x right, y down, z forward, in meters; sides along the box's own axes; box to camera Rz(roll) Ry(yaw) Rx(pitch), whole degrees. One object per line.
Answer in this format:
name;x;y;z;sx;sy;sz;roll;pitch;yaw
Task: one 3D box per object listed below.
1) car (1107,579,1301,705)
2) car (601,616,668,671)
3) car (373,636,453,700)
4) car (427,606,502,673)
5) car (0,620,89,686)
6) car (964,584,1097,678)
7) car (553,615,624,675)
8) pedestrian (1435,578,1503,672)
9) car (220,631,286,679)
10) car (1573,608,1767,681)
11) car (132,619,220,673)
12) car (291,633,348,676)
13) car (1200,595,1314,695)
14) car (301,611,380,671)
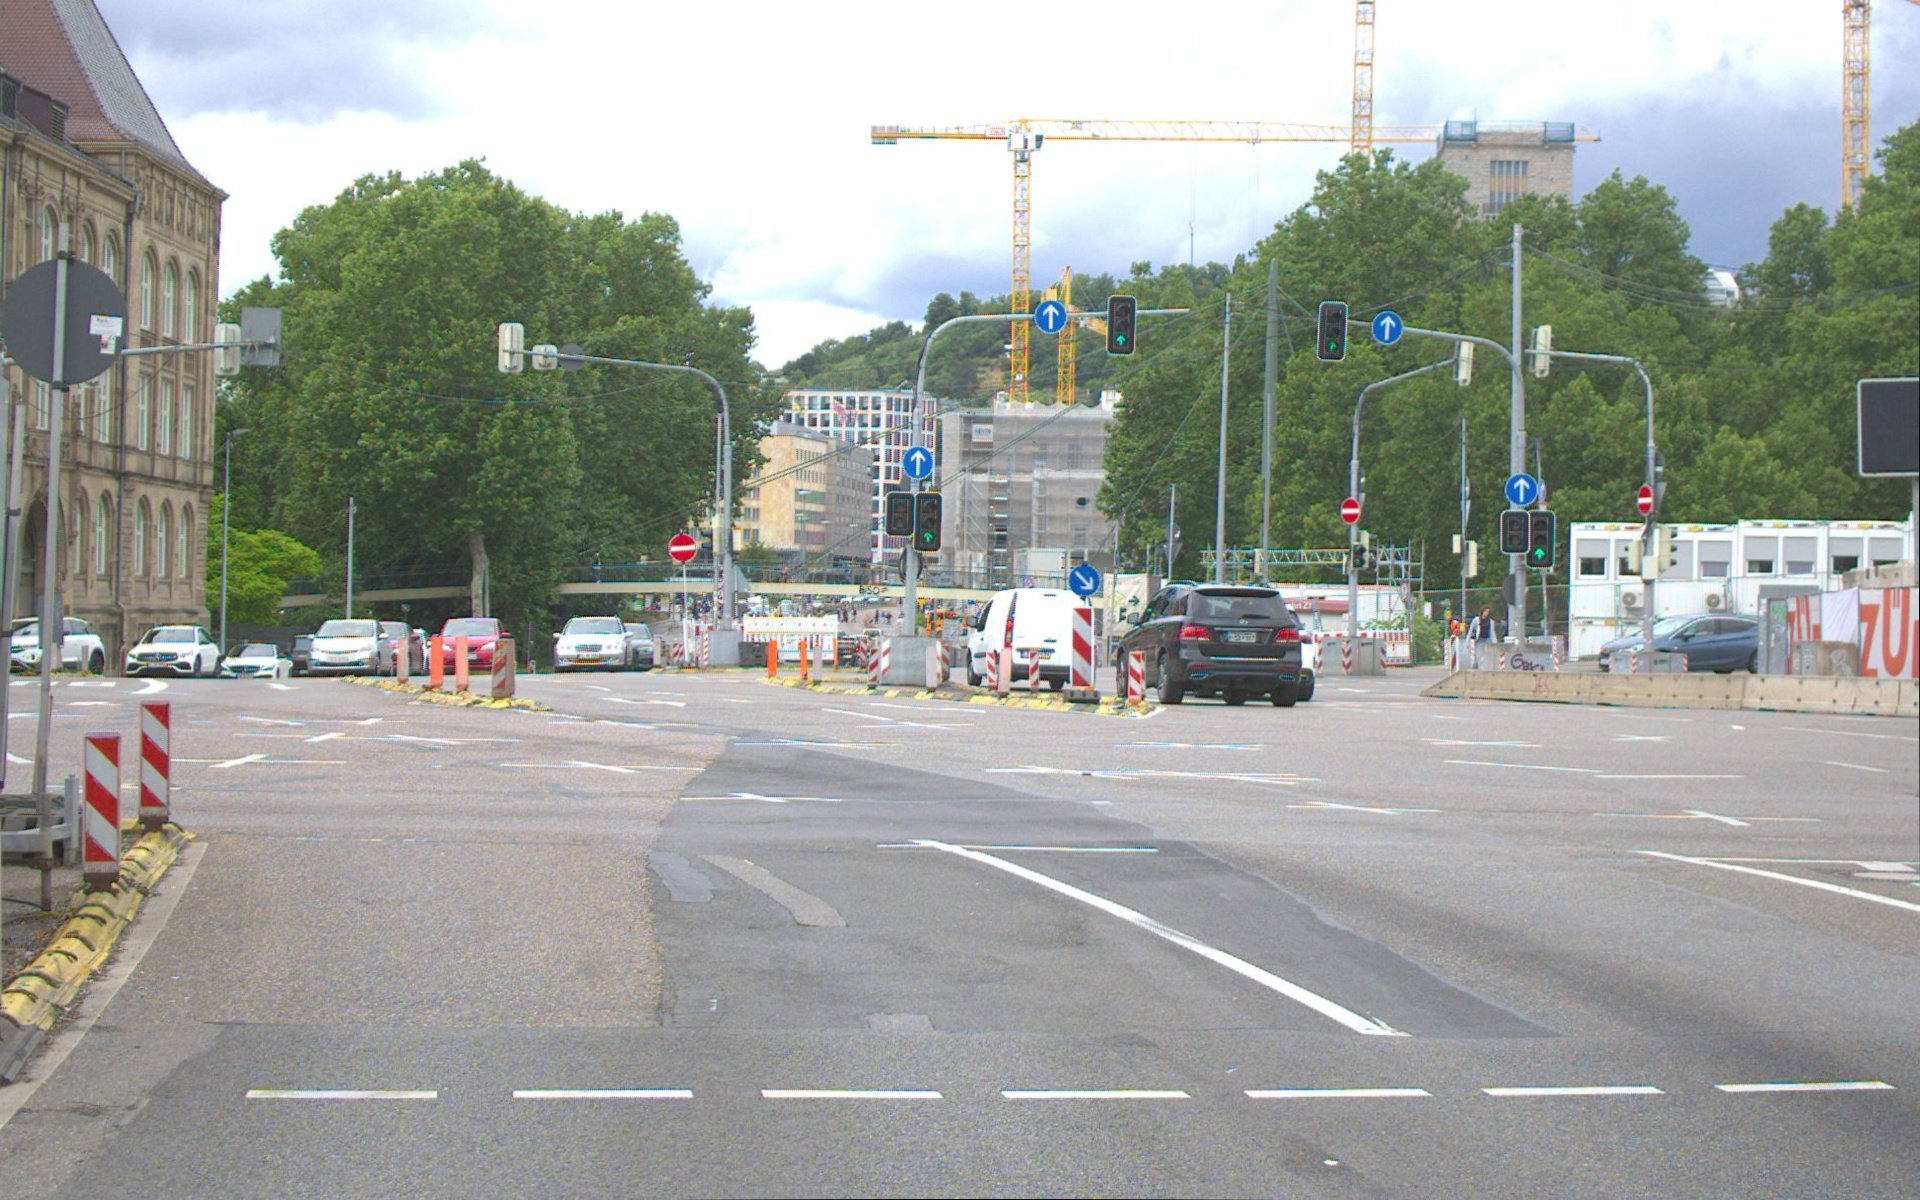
car;3.487;0.577;49.894;1.831;1.740;4.256;1;0;-10
car;-8.661;1.143;91.260;1.675;1.393;3.684;1;0;-6
car;-12.895;1.591;81.218;1.675;1.393;3.684;1;0;-6
car;-12.093;0.949;83.995;1.675;1.575;3.684;1;0;-6
car;-20.859;1.175;77.374;1.676;1.393;3.683;1;0;-2
car;1.224;0.531;61.445;1.816;1.619;4.001;1;0;-7
car;-9.103;1.077;84.255;1.675;1.393;3.684;1;0;-6
pedestrian;10.975;0.540;74.154;1.094;2.007;1.185;1;0;-11
car;-21.993;1.695;107.027;1.675;1.393;3.684;1;0;-6
car;16.300;1.015;78.952;3.986;1.619;1.823;1;0;-19
car;-21.175;1.232;92.950;1.676;1.393;3.683;1;0;-2
car;-22.190;1.887;119.232;1.675;1.393;3.684;1;0;-6
car;5.216;0.762;60.685;1.676;1.696;3.374;1;0;0
car;-15.283;0.996;84.918;1.675;1.393;3.684;1;0;-6
